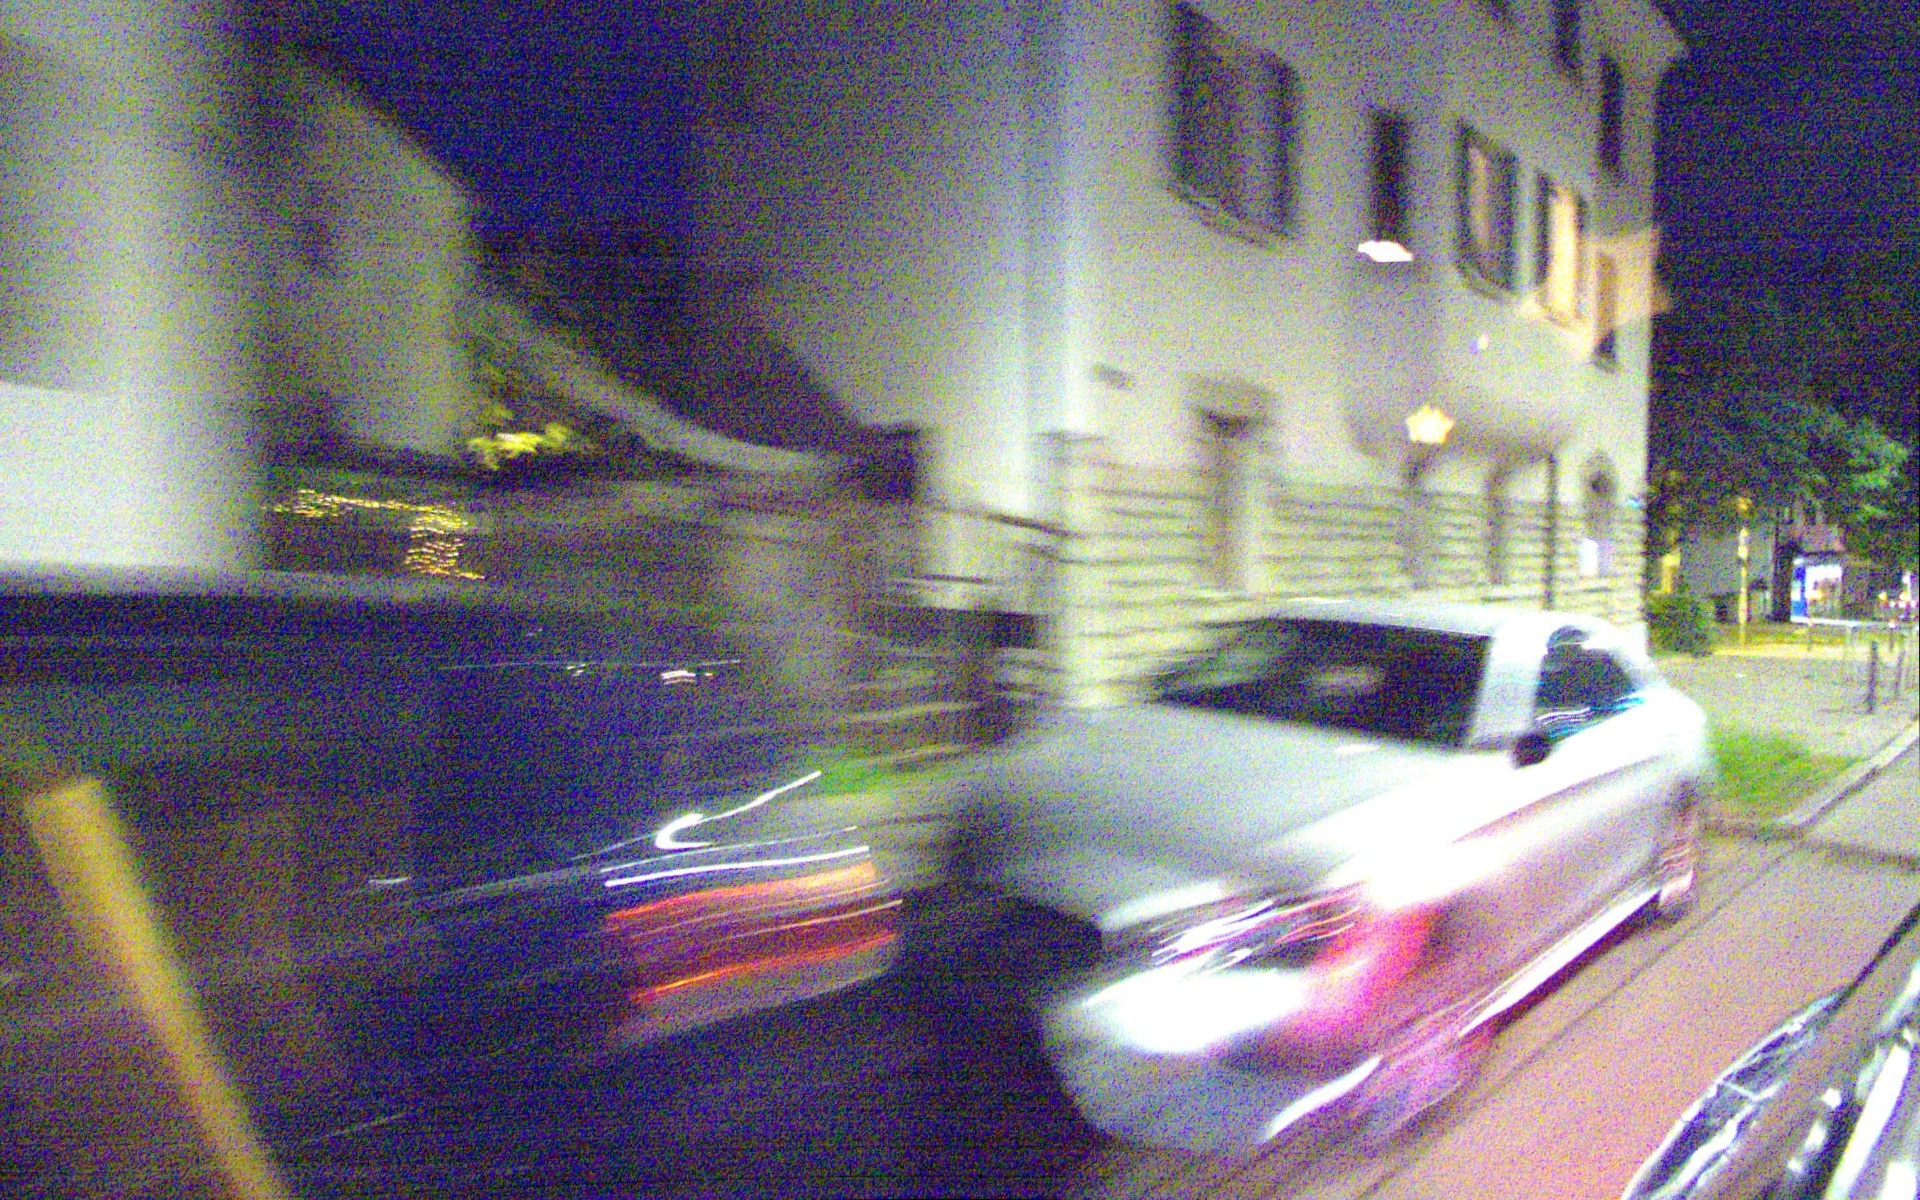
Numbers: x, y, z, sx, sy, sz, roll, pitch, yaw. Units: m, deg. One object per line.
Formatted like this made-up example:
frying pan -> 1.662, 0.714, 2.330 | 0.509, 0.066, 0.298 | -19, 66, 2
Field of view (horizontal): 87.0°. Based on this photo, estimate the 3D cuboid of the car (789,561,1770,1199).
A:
car -> 1.740, 0.635, 4.304 | 4.565, 1.434, 1.849 | -1, 5, -42

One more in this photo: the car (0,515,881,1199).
car -> -2.193, 0.617, 0.962 | 3.950, 1.465, 1.774 | 0, 3, -42
